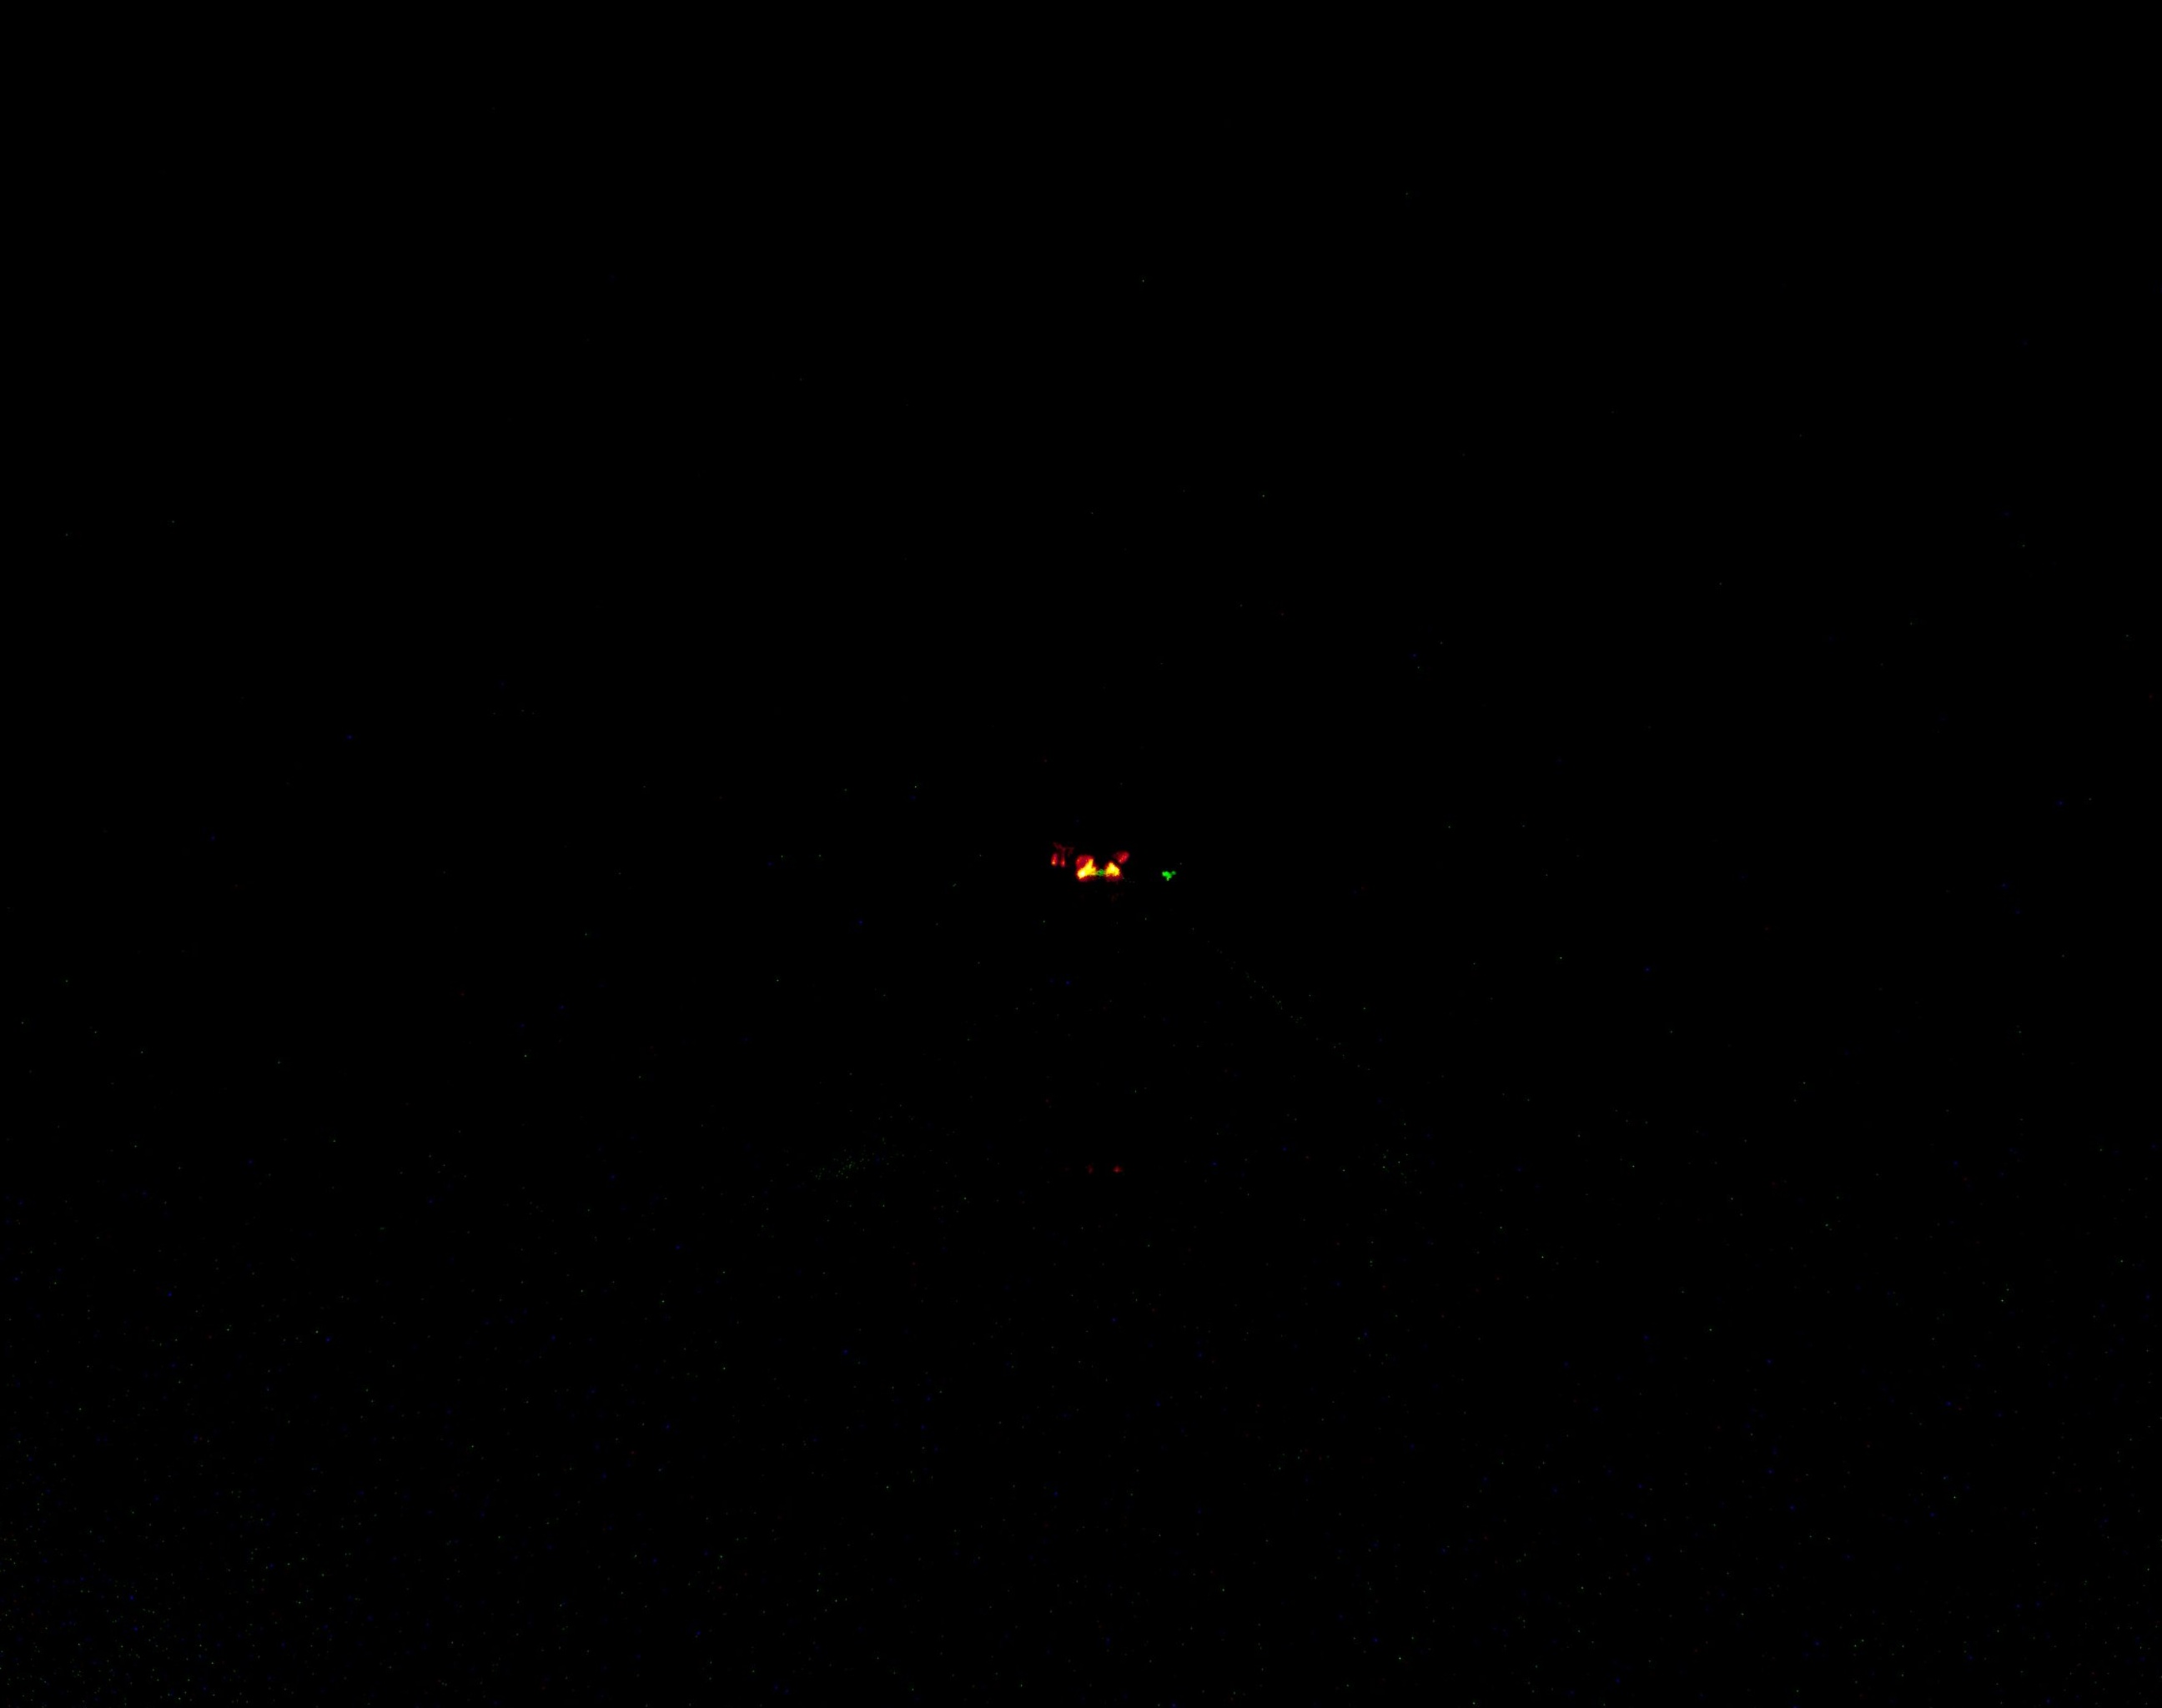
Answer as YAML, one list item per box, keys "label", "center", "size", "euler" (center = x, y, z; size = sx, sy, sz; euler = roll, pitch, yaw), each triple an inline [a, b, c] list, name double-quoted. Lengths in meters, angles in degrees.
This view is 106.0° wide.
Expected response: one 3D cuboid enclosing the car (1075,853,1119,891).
- label: "car"
  center: [0.765, 0.798, 39.080]
  size: [1.986, 1.628, 4.986]
  euler: [0, 1, 1]
